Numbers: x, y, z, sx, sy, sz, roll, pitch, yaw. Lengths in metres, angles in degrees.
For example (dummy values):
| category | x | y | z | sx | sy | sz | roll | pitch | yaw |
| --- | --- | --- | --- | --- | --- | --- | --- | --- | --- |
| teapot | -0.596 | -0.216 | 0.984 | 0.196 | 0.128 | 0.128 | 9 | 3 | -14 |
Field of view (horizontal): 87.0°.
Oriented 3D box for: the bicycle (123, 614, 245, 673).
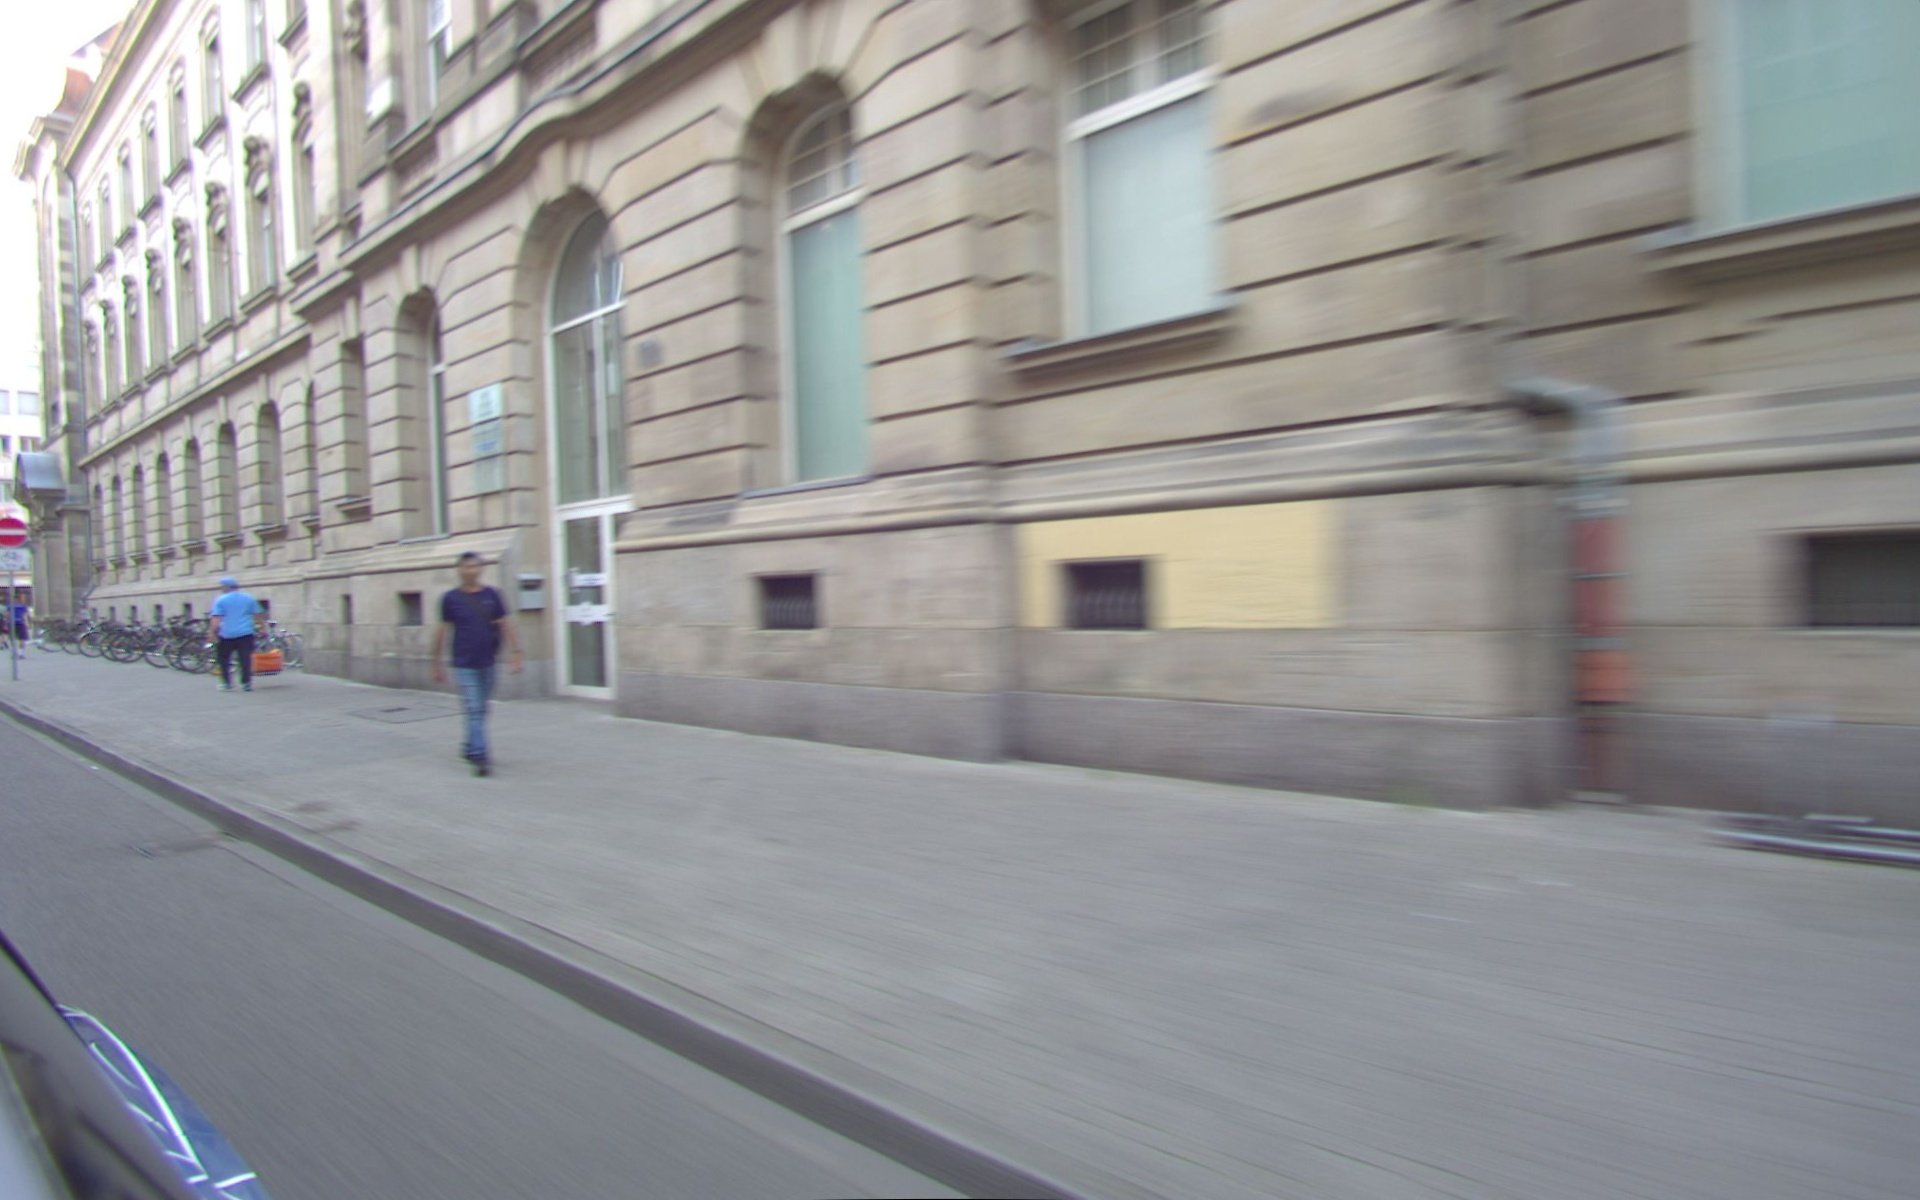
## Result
| category | x | y | z | sx | sy | sz | roll | pitch | yaw |
| --- | --- | --- | --- | --- | --- | --- | --- | --- | --- |
| bicycle | -16.802 | 0.924 | 21.960 | 0.728 | 1.086 | 1.921 | -1 | 3 | 34 |

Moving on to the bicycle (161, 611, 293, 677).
| category | x | y | z | sx | sy | sz | roll | pitch | yaw |
| --- | --- | --- | --- | --- | --- | --- | --- | --- | --- |
| bicycle | -14.276 | 0.831 | 19.758 | 0.747 | 1.086 | 1.918 | -1 | 3 | 40 |

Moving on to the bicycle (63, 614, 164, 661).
| category | x | y | z | sx | sy | sz | roll | pitch | yaw |
| --- | --- | --- | --- | --- | --- | --- | --- | --- | --- |
| bicycle | -22.988 | 0.996 | 27.517 | 0.729 | 1.086 | 1.920 | -1 | 3 | 36 |

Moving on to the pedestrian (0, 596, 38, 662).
| category | x | y | z | sx | sy | sz | roll | pitch | yaw |
| --- | --- | --- | --- | --- | --- | --- | --- | --- | --- |
| pedestrian | -26.472 | 0.808 | 28.342 | 0.765 | 1.802 | 0.823 | -3 | 1 | -33 |

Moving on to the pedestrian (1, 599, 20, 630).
| category | x | y | z | sx | sy | sz | roll | pitch | yaw |
| --- | --- | --- | --- | --- | --- | --- | --- | --- | --- |
| pedestrian | -53.694 | 0.830 | 57.235 | 0.746 | 1.702 | 0.722 | -2 | 0 | 43 |

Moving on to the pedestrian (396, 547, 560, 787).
| category | x | y | z | sx | sy | sz | roll | pitch | yaw |
| --- | --- | --- | --- | --- | --- | --- | --- | --- | --- |
| pedestrian | -3.848 | 0.484 | 8.080 | 0.969 | 1.763 | 0.801 | 0 | 2 | 41 |

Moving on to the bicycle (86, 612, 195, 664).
| category | x | y | z | sx | sy | sz | roll | pitch | yaw |
| --- | --- | --- | --- | --- | --- | --- | --- | --- | --- |
| bicycle | -20.372 | 0.928 | 25.186 | 0.728 | 1.086 | 1.922 | -1 | 4 | 34 |

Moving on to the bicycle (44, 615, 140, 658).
| category | x | y | z | sx | sy | sz | roll | pitch | yaw |
| --- | --- | --- | --- | --- | --- | --- | --- | --- | --- |
| bicycle | -25.539 | 1.063 | 29.819 | 0.725 | 1.086 | 2.011 | -2 | 3 | 22 |

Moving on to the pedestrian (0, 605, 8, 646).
| category | x | y | z | sx | sy | sz | roll | pitch | yaw |
| --- | --- | --- | --- | --- | --- | --- | --- | --- | --- |
| pedestrian | -40.117 | 1.074 | 41.985 | 0.747 | 1.653 | 0.749 | -6 | 4 | -42 |

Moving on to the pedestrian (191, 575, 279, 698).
| category | x | y | z | sx | sy | sz | roll | pitch | yaw |
| --- | --- | --- | --- | --- | --- | --- | --- | --- | --- |
| pedestrian | -10.984 | 0.537 | 15.337 | 0.768 | 1.758 | 0.820 | -1 | 3 | 41 |

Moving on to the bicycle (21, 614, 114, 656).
| category | x | y | z | sx | sy | sz | roll | pitch | yaw |
| --- | --- | --- | --- | --- | --- | --- | --- | --- | --- |
| bicycle | -27.817 | 1.073 | 31.576 | 0.728 | 1.117 | 2.002 | -1 | 3 | 35 |

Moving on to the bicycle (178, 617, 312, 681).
| category | x | y | z | sx | sy | sz | roll | pitch | yaw |
| --- | --- | --- | --- | --- | --- | --- | --- | --- | --- |
| bicycle | -13.536 | 0.900 | 19.208 | 0.720 | 1.053 | 1.918 | -1 | 2 | 37 |

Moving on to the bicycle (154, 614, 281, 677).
| category | x | y | z | sx | sy | sz | roll | pitch | yaw |
| --- | --- | --- | --- | --- | --- | --- | --- | --- | --- |
| bicycle | -15.138 | 0.898 | 20.695 | 0.728 | 1.086 | 1.921 | -1 | 3 | 34 |

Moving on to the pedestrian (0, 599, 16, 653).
| category | x | y | z | sx | sy | sz | roll | pitch | yaw |
| --- | --- | --- | --- | --- | --- | --- | --- | --- | --- |
| pedestrian | -32.843 | 0.894 | 34.573 | 0.800 | 1.793 | 0.710 | -1 | 2 | 42 |

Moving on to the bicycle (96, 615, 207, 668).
| category | x | y | z | sx | sy | sz | roll | pitch | yaw |
| --- | --- | --- | --- | --- | --- | --- | --- | --- | --- |
| bicycle | -19.469 | 0.967 | 24.414 | 0.728 | 1.086 | 1.921 | -1 | 3 | 34 |

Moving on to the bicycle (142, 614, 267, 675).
| category | x | y | z | sx | sy | sz | roll | pitch | yaw |
| --- | --- | --- | --- | --- | --- | --- | --- | --- | --- |
| bicycle | -15.762 | 0.905 | 21.153 | 0.728 | 1.086 | 1.921 | -1 | 3 | 34 |
